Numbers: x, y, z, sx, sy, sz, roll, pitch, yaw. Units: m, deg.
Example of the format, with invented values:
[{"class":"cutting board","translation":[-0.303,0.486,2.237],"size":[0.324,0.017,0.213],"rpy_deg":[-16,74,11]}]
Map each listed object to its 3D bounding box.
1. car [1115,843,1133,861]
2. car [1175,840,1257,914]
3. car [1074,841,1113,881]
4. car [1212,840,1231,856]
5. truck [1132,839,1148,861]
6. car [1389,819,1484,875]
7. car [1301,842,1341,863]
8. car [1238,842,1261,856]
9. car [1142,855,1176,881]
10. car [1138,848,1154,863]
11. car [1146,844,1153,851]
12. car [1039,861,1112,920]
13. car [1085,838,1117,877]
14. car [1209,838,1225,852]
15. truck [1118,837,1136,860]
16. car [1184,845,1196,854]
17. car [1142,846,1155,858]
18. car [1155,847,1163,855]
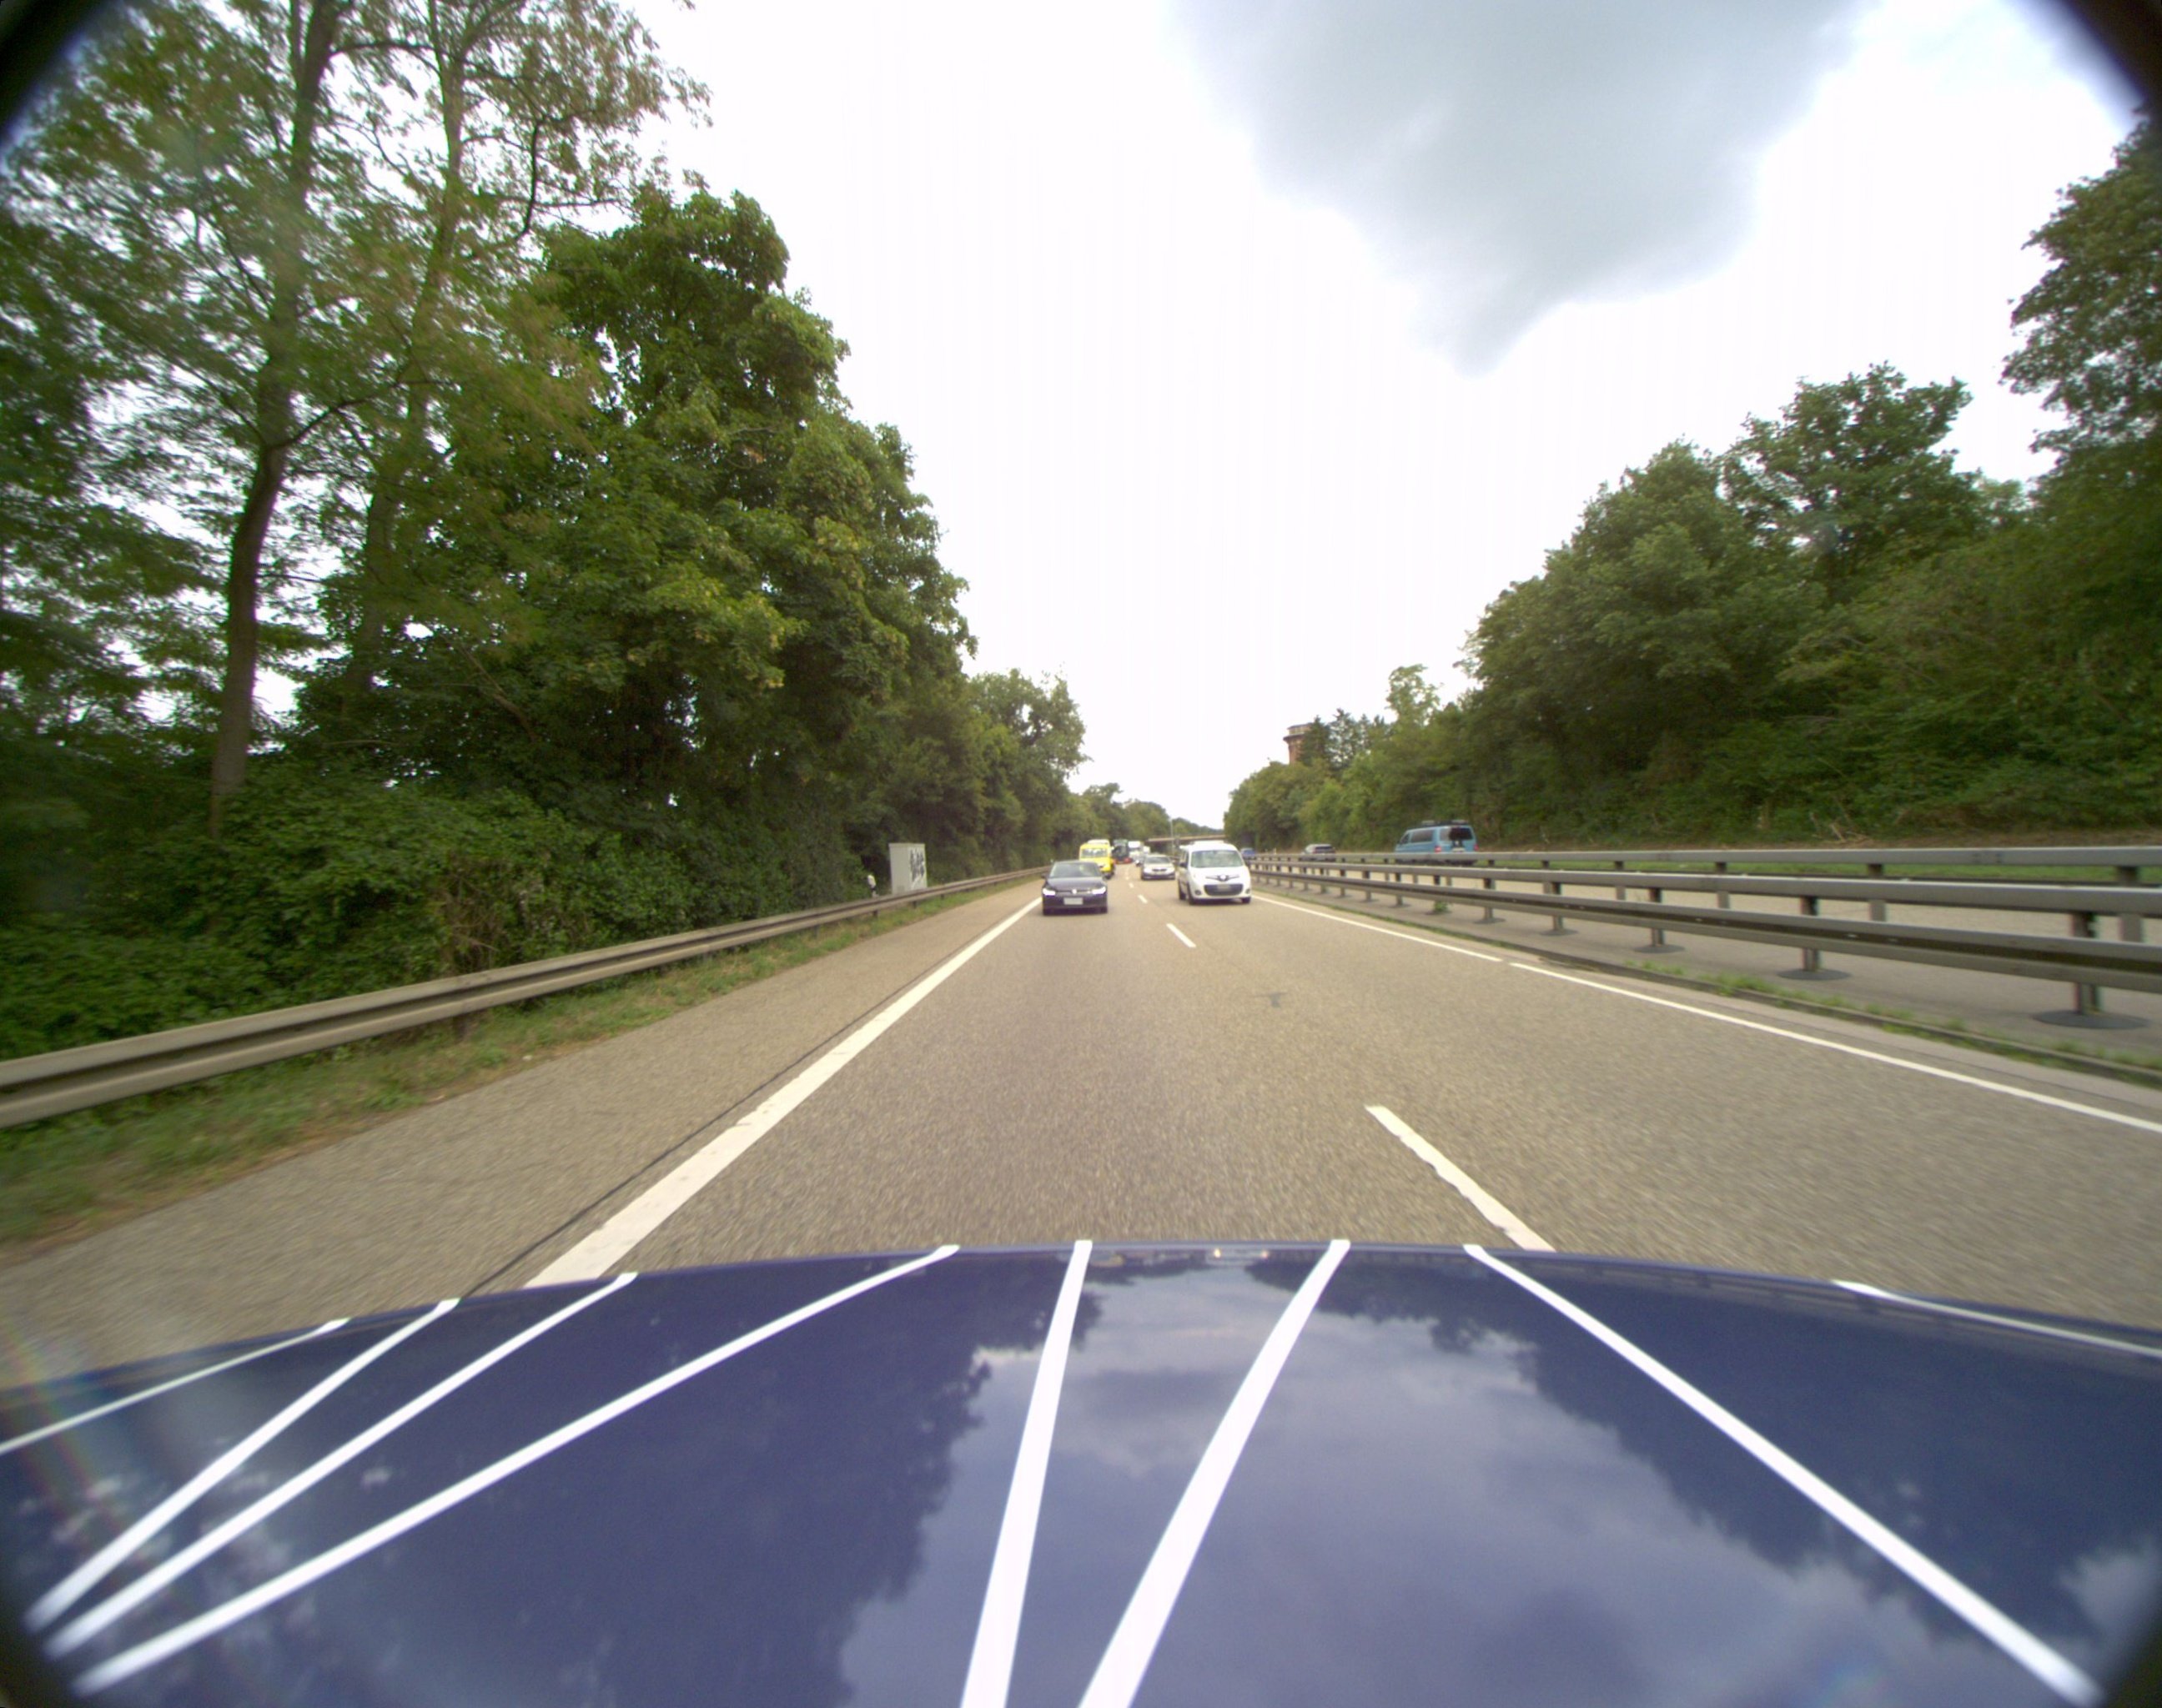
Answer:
[{"class":"car","translation":[4.363,-0.171,77.494],"size":[1.678,1.763,3.937],"rpy_deg":[-1,0,2]},{"class":"car","translation":[4.018,0.623,23.285],"size":[1.821,1.993,4.423],"rpy_deg":[-1,0,2]},{"class":"car","translation":[0.831,0.400,47.824],"size":[2.247,2.334,5.224],"rpy_deg":[-1,0,2]},{"class":"car","translation":[20.578,-0.861,111.198],"size":[2.071,2.243,5.376],"rpy_deg":[-1,0,4]},{"class":"truck","translation":[12.442,-0.876,159.887],"size":[3.098,4.462,12.213],"rpy_deg":[-1,0,5]},{"class":"car","translation":[16.072,-0.308,34.692],"size":[1.940,2.308,5.305],"rpy_deg":[-1,0,1]},{"class":"car","translation":[17.624,-0.113,55.951],"size":[1.698,1.458,4.090],"rpy_deg":[-1,0,2]},{"class":"car","translation":[19.532,-0.592,88.152],"size":[1.998,1.501,4.506],"rpy_deg":[-1,0,4]},{"class":"car","translation":[4.536,0.779,44.715],"size":[1.772,1.416,4.199],"rpy_deg":[-1,0,3]},{"class":"car","translation":[7.819,0.168,91.287],"size":[1.678,1.763,3.937],"rpy_deg":[-1,0,2]},{"class":"car","translation":[17.439,-1.692,192.267],"size":[1.680,1.840,4.001],"rpy_deg":[-1,0,4]},{"class":"car","translation":[-0.035,0.953,21.637],"size":[1.800,1.398,4.640],"rpy_deg":[-1,0,3]},{"class":"car","translation":[1.536,0.218,57.552],"size":[2.207,2.732,6.168],"rpy_deg":[-1,0,2]},{"class":"car","translation":[25.778,-1.752,144.018],"size":[2.317,2.596,5.554],"rpy_deg":[-1,0,3]},{"class":"truck","translation":[7.435,-0.835,122.355],"size":[2.547,3.564,6.459],"rpy_deg":[-1,0,5]},{"class":"car","translation":[20.010,-0.902,139.111],"size":[1.786,1.554,4.015],"rpy_deg":[-1,0,3]},{"class":"car","translation":[9.618,-0.287,108.563],"size":[1.678,1.763,3.937],"rpy_deg":[-1,0,2]},{"class":"car","translation":[18.423,-0.627,179.367],"size":[1.816,1.840,4.001],"rpy_deg":[-1,0,4]}]
